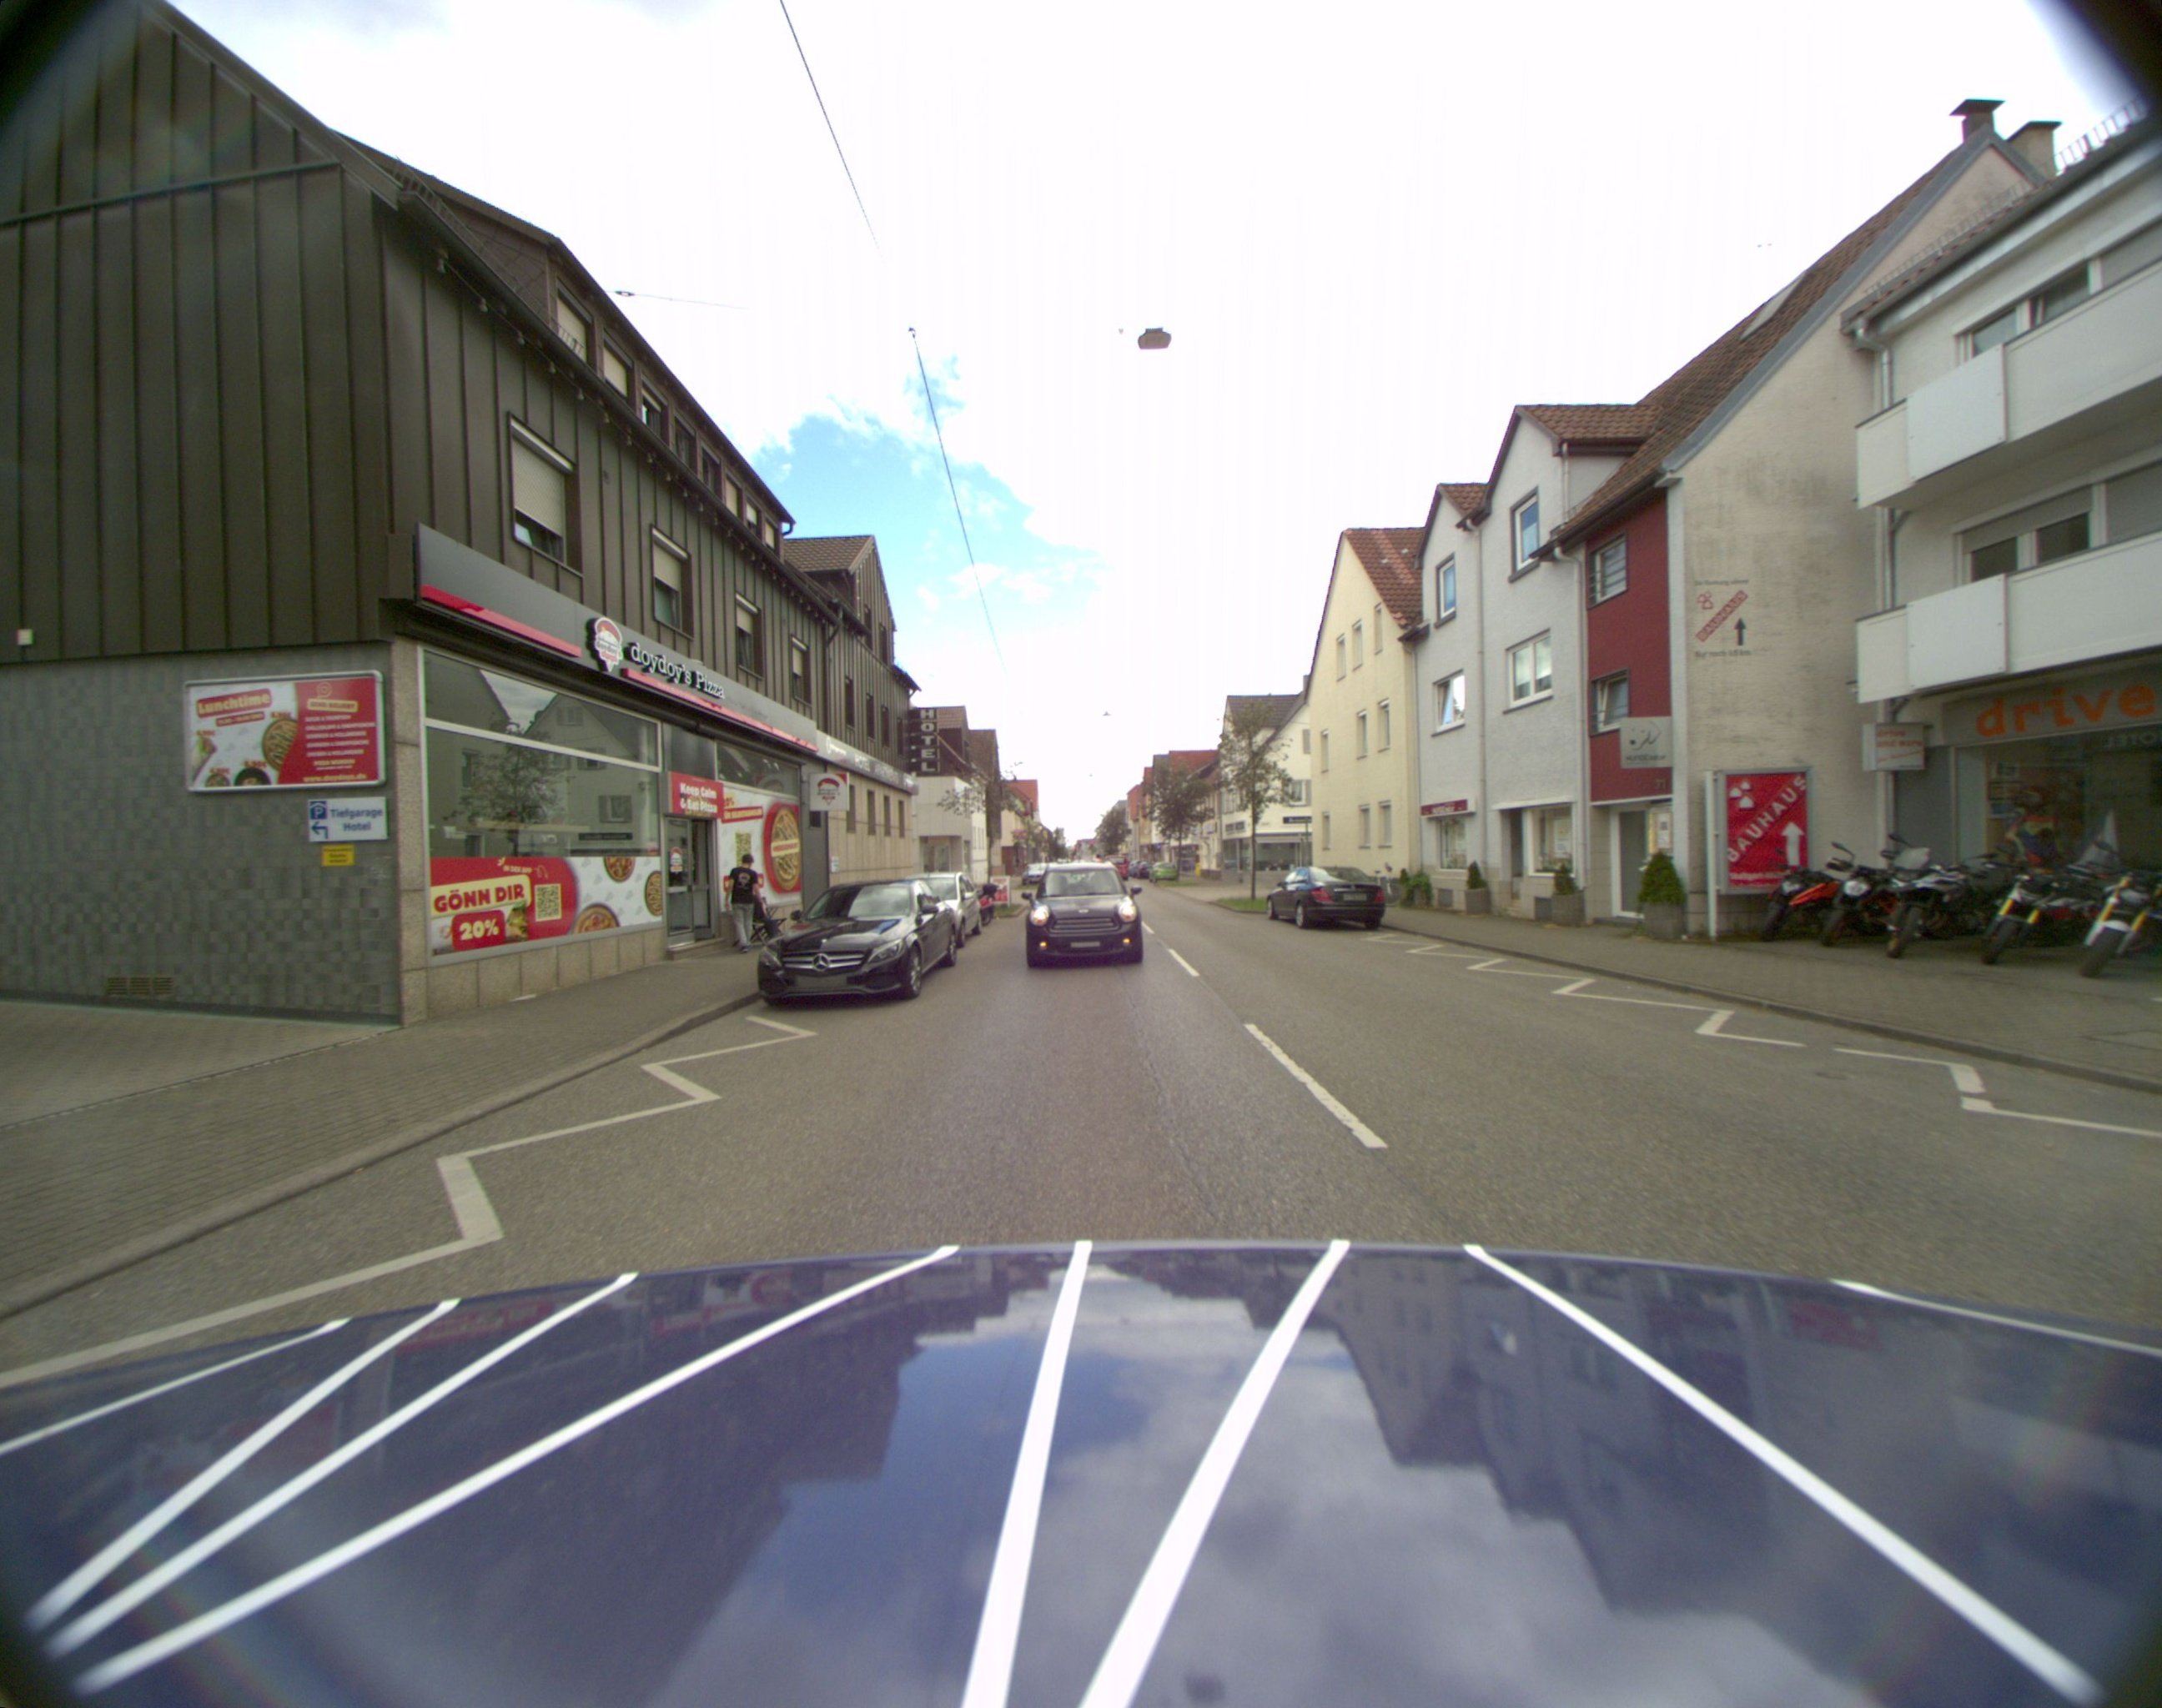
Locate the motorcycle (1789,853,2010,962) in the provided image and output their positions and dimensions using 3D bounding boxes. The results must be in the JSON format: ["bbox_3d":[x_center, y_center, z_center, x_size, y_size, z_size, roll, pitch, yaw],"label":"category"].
[{"bbox_3d":[10.848,0.690,10.109,2.231,1.258,0.613,-4,1,-1],"label":"motorcycle"}]

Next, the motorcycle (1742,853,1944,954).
[{"bbox_3d":[10.853,0.689,10.860,2.231,1.258,0.613,-4,1,-1],"label":"motorcycle"}]

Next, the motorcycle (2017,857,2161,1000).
[{"bbox_3d":[10.890,0.693,7.611,2.231,1.258,0.613,-4,1,-1],"label":"motorcycle"}]

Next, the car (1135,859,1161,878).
[{"bbox_3d":[5.603,1.197,64.145,1.715,1.389,3.900,-2,0,-1],"label":"car"}]

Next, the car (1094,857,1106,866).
[{"bbox_3d":[3.163,1.270,126.552,1.779,1.446,4.000,-2,0,1],"label":"car"}]

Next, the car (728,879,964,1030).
[{"bbox_3d":[-2.889,1.164,10.501,1.829,1.400,4.565,-2,0,0],"label":"car"}]

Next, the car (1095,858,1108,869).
[{"bbox_3d":[2.966,1.307,109.294,1.779,1.446,4.000,-2,0,1],"label":"car"}]

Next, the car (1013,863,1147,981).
[{"bbox_3d":[-0.062,0.991,13.136,1.855,1.527,4.735,-2,0,-1],"label":"car"}]

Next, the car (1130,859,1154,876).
[{"bbox_3d":[5.545,1.191,69.135,1.715,1.389,3.900,-2,0,-1],"label":"car"}]

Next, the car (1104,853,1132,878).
[{"bbox_3d":[2.908,0.904,60.480,1.855,1.932,4.490,0,0,-1],"label":"car"}]

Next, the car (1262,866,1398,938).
[{"bbox_3d":[5.739,1.040,18.100,1.792,1.409,4.341,-1,0,0],"label":"car"}]

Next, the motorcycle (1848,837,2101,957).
[{"bbox_3d":[10.869,0.510,9.290,2.231,1.258,0.699,-4,1,-1],"label":"motorcycle"}]

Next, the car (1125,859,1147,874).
[{"bbox_3d":[5.415,1.187,74.780,1.715,1.389,3.900,-2,0,-1],"label":"car"}]

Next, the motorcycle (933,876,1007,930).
[{"bbox_3d":[-2.921,1.255,20.070,1.874,1.284,0.531,-2,1,-38],"label":"motorcycle"}]

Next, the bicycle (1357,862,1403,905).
[{"bbox_3d":[8.775,0.842,22.398,0.515,1.189,2.023,-2,0,0],"label":"bicycle"}]

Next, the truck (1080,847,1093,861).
[{"bbox_3d":[1.309,0.027,175.177,2.800,3.020,8.251,-2,0,1],"label":"truck"}]

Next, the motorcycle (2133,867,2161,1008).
[{"bbox_3d":[10.866,0.693,6.729,2.231,1.258,0.613,-4,1,-1],"label":"motorcycle"}]

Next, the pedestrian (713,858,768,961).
[{"bbox_3d":[-5.879,0.932,13.159,0.643,1.730,0.742,0,1,-5],"label":"pedestrian"}]

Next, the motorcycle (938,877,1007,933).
[{"bbox_3d":[-2.716,1.254,19.000,1.588,1.284,0.500,-2,1,-29],"label":"motorcycle"}]

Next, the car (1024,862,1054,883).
[{"bbox_3d":[-2.878,1.252,52.365,1.794,1.356,3.949,0,0,1],"label":"car"}]

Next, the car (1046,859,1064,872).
[{"bbox_3d":[-2.786,1.244,82.150,1.794,1.396,3.949,0,0,1],"label":"car"}]

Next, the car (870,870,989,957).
[{"bbox_3d":[-2.987,1.128,15.737,1.645,1.433,3.902,-2,0,0],"label":"car"}]

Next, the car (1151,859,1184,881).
[{"bbox_3d":[6.031,1.059,53.192,1.715,1.389,3.900,-2,0,-1],"label":"car"}]

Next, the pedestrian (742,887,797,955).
[{"bbox_3d":[-5.714,1.216,13.965,0.742,1.204,0.644,0,1,0],"label":"pedestrian"}]

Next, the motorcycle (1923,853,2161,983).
[{"bbox_3d":[10.901,0.691,8.508,2.231,1.258,0.613,-4,1,-1],"label":"motorcycle"}]

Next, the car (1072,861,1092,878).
[{"bbox_3d":[0.158,1.542,78.023,1.855,1.615,4.736,-2,0,1],"label":"car"}]
